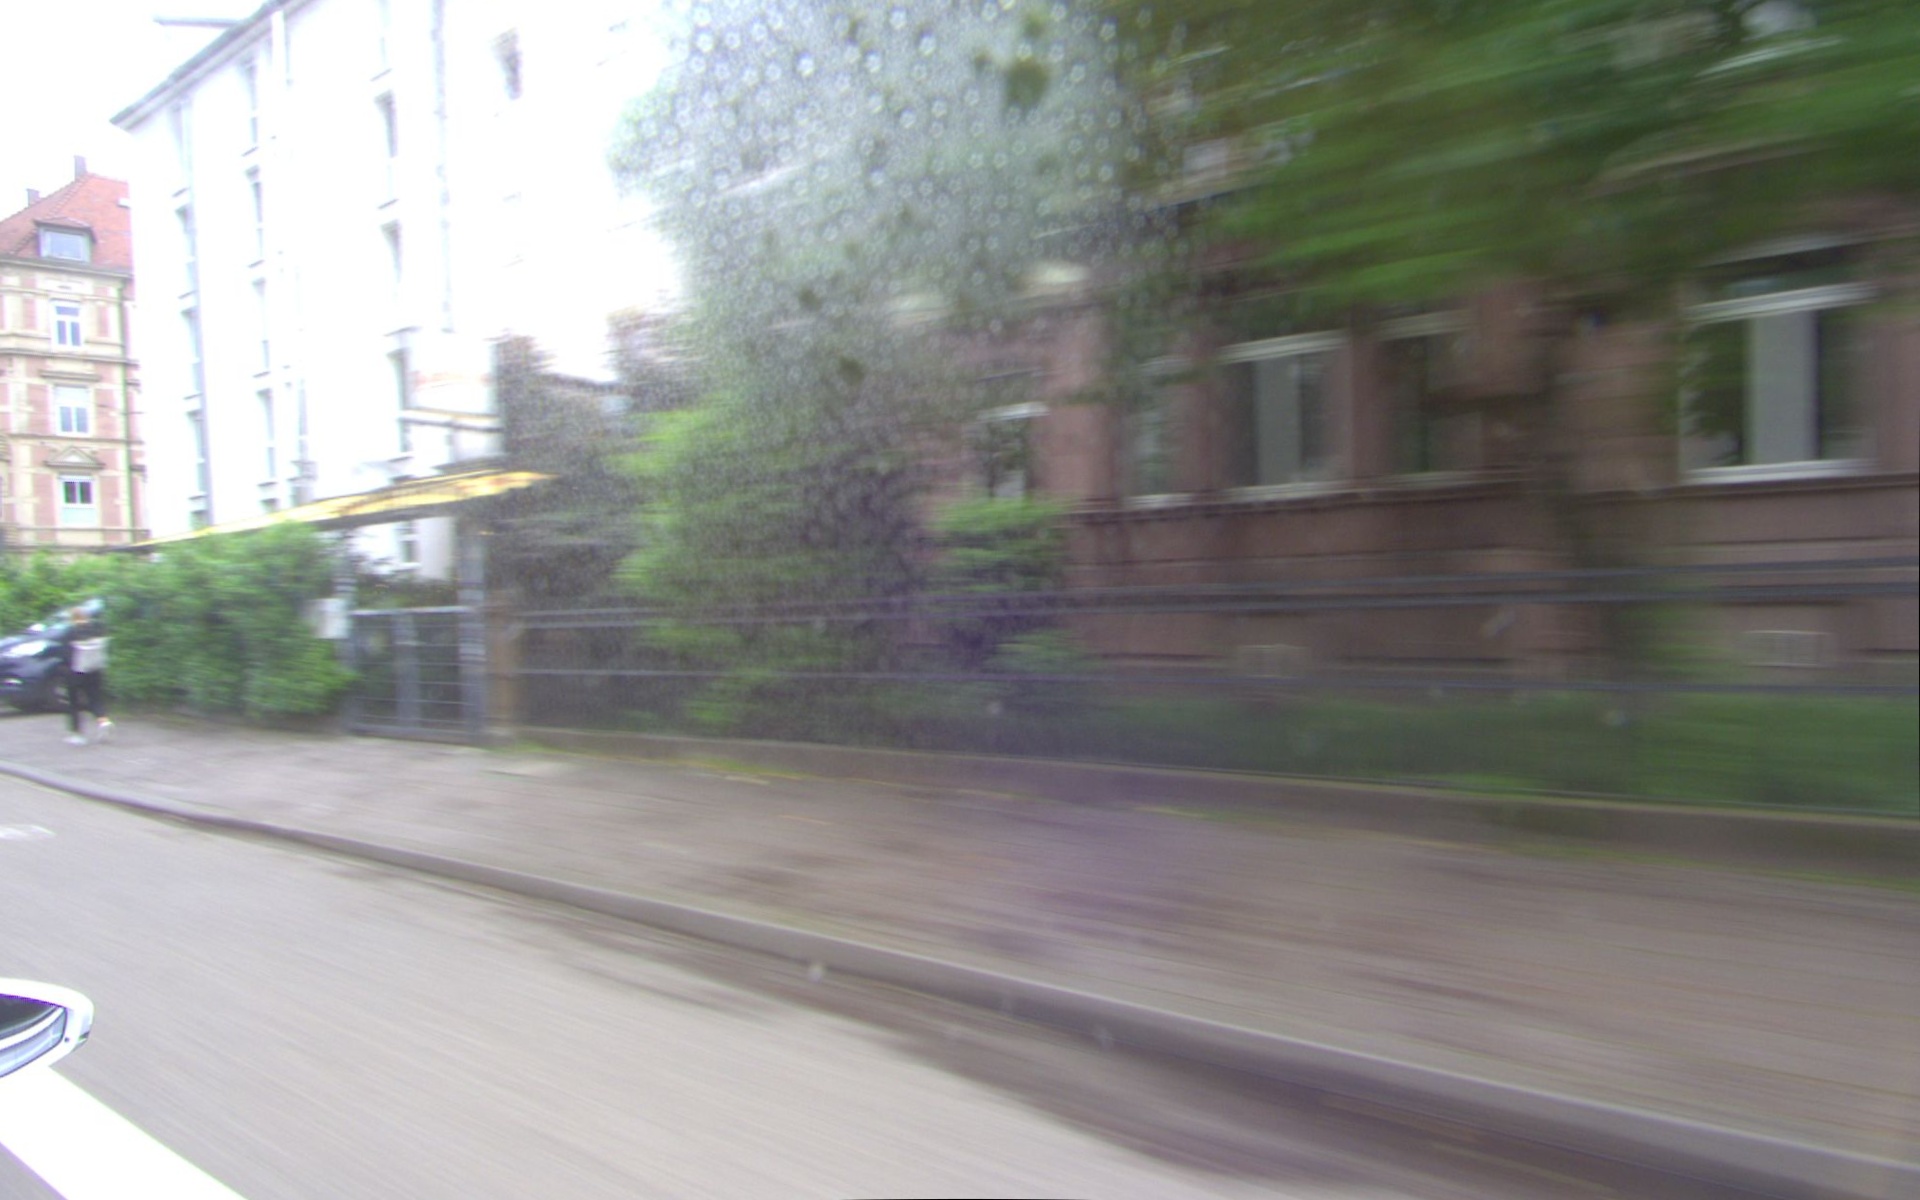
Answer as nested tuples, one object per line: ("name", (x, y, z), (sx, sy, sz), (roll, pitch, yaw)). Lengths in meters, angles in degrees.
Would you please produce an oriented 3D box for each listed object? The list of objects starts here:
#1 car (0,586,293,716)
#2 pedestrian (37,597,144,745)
("car", (-14.532, 0.784, 17.565), (1.799, 1.834, 4.266), (-1, 3, 34))
("pedestrian", (-10.590, 0.839, 12.199), (0.946, 1.695, 0.621), (-1, 4, 32))
